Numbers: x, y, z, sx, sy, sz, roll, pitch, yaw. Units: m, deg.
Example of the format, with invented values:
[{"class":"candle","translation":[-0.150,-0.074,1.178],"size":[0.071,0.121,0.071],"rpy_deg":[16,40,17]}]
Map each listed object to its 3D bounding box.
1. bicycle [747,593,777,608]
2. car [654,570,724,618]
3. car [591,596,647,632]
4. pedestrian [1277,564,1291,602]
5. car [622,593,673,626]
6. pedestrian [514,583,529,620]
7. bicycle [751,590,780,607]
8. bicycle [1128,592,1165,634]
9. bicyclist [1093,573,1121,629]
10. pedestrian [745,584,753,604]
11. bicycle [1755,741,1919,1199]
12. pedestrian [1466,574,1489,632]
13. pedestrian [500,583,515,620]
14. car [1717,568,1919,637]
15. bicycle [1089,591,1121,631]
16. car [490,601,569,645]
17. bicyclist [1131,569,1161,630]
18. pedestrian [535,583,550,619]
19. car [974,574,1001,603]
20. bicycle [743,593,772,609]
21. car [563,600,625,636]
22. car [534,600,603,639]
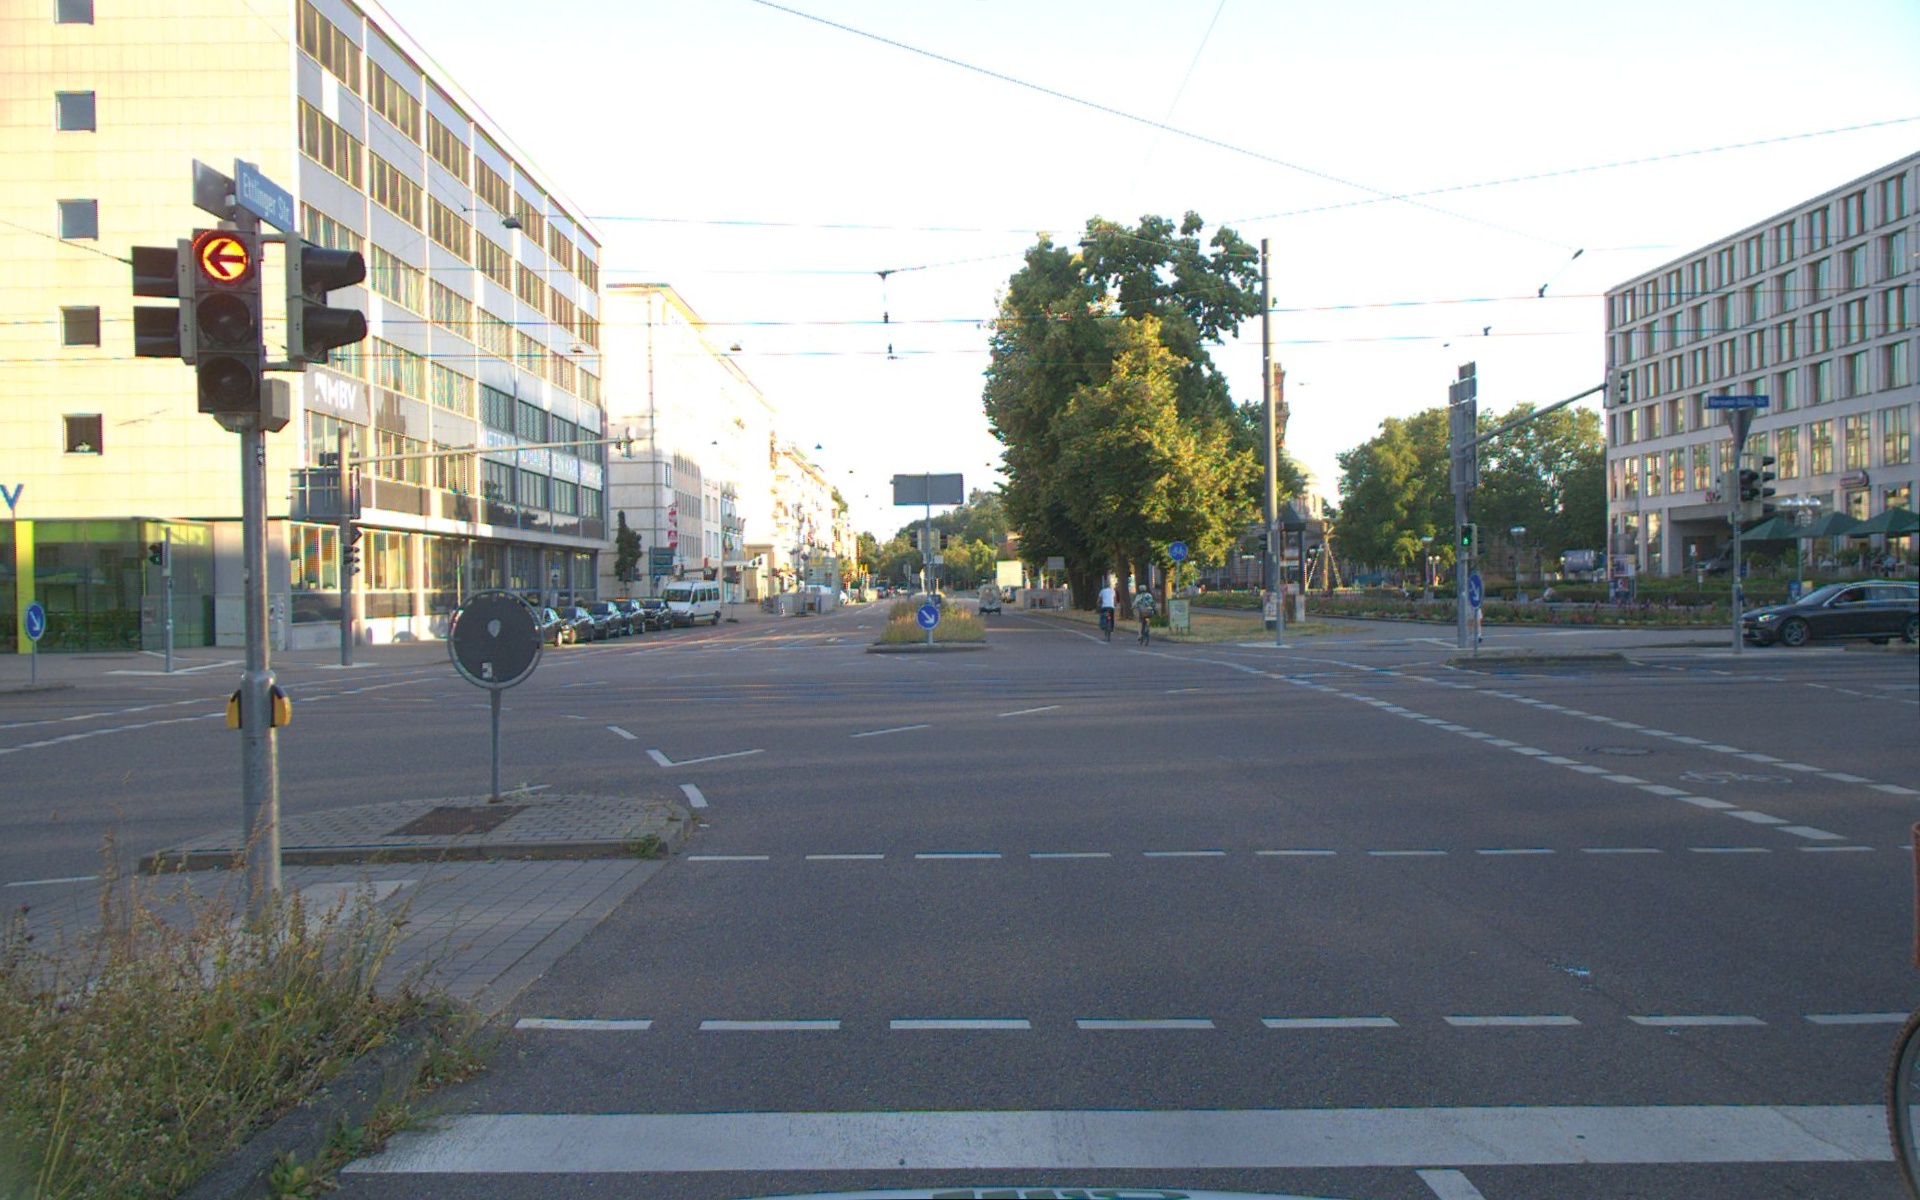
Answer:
[{"class":"bicycle","translation":[-15.150,0.052,126.592],"size":[2.161,1.131,0.689],"rpy_deg":[-1,0,-2]},{"class":"car","translation":[-14.837,-0.343,90.985],"size":[1.958,2.521,5.873],"rpy_deg":[-1,0,10]},{"class":"car","translation":[-16.108,0.631,78.294],"size":[1.882,1.595,3.999],"rpy_deg":[-1,0,-1]},{"class":"pedestrian","translation":[14.533,-0.757,74.219],"size":[0.451,1.685,0.566],"rpy_deg":[-1,0,-1]},{"class":"car","translation":[-15.931,0.466,84.525],"size":[1.882,1.595,3.999],"rpy_deg":[-1,0,-1]},{"class":"pedestrian","translation":[-20.672,0.071,77.922],"size":[0.540,1.708,0.500],"rpy_deg":[-1,0,-1]},{"class":"bicycle","translation":[-15.109,-0.134,128.661],"size":[2.161,1.258,0.839],"rpy_deg":[-1,0,-2]},{"class":"bicycle","translation":[5.429,0.374,48.170],"size":[0.731,1.164,2.505],"rpy_deg":[-1,0,-1]},{"class":"bicyclist","translation":[4.552,0.033,51.317],"size":[0.731,1.692,0.873],"rpy_deg":[-1,0,-1]},{"class":"pedestrian","translation":[-21.031,-0.606,164.540],"size":[0.666,2.049,0.545],"rpy_deg":[-2,0,-1]},{"class":"bicycle","translation":[2.178,0.916,2.877],"size":[0.599,1.152,2.004],"rpy_deg":[1,0,-1]},{"class":"pedestrian","translation":[14.166,0.072,45.264],"size":[0.480,1.566,0.408],"rpy_deg":[-1,0,-1]},{"class":"pedestrian","translation":[-21.276,0.059,77.751],"size":[0.540,1.708,0.500],"rpy_deg":[-1,0,-1]},{"class":"car","translation":[21.121,0.049,39.968],"size":[4.724,1.542,2.000],"rpy_deg":[-1,0,1]},{"class":"bicycle","translation":[4.521,0.329,51.644],"size":[0.731,1.164,2.505],"rpy_deg":[-1,0,-1]},{"class":"car","translation":[-15.990,0.829,61.664],"size":[1.882,1.489,4.103],"rpy_deg":[-1,0,-1]},{"class":"bicyclist","translation":[5.418,-0.018,48.175],"size":[0.731,1.720,0.799],"rpy_deg":[-1,0,-1]},{"class":"pedestrian","translation":[-19.627,0.042,77.679],"size":[0.540,1.708,0.500],"rpy_deg":[-1,0,-1]},{"class":"car","translation":[1.589,-0.680,98.080],"size":[1.379,1.670,3.999],"rpy_deg":[-1,0,-2]},{"class":"bicycle","translation":[-15.331,0.058,125.223],"size":[2.161,1.131,0.618],"rpy_deg":[-1,0,-2]},{"class":"car","translation":[-16.114,0.777,72.990],"size":[1.882,1.489,3.999],"rpy_deg":[-1,0,-1]},{"class":"car","translation":[-16.096,0.770,68.176],"size":[1.882,1.489,3.999],"rpy_deg":[-1,0,-1]}]
